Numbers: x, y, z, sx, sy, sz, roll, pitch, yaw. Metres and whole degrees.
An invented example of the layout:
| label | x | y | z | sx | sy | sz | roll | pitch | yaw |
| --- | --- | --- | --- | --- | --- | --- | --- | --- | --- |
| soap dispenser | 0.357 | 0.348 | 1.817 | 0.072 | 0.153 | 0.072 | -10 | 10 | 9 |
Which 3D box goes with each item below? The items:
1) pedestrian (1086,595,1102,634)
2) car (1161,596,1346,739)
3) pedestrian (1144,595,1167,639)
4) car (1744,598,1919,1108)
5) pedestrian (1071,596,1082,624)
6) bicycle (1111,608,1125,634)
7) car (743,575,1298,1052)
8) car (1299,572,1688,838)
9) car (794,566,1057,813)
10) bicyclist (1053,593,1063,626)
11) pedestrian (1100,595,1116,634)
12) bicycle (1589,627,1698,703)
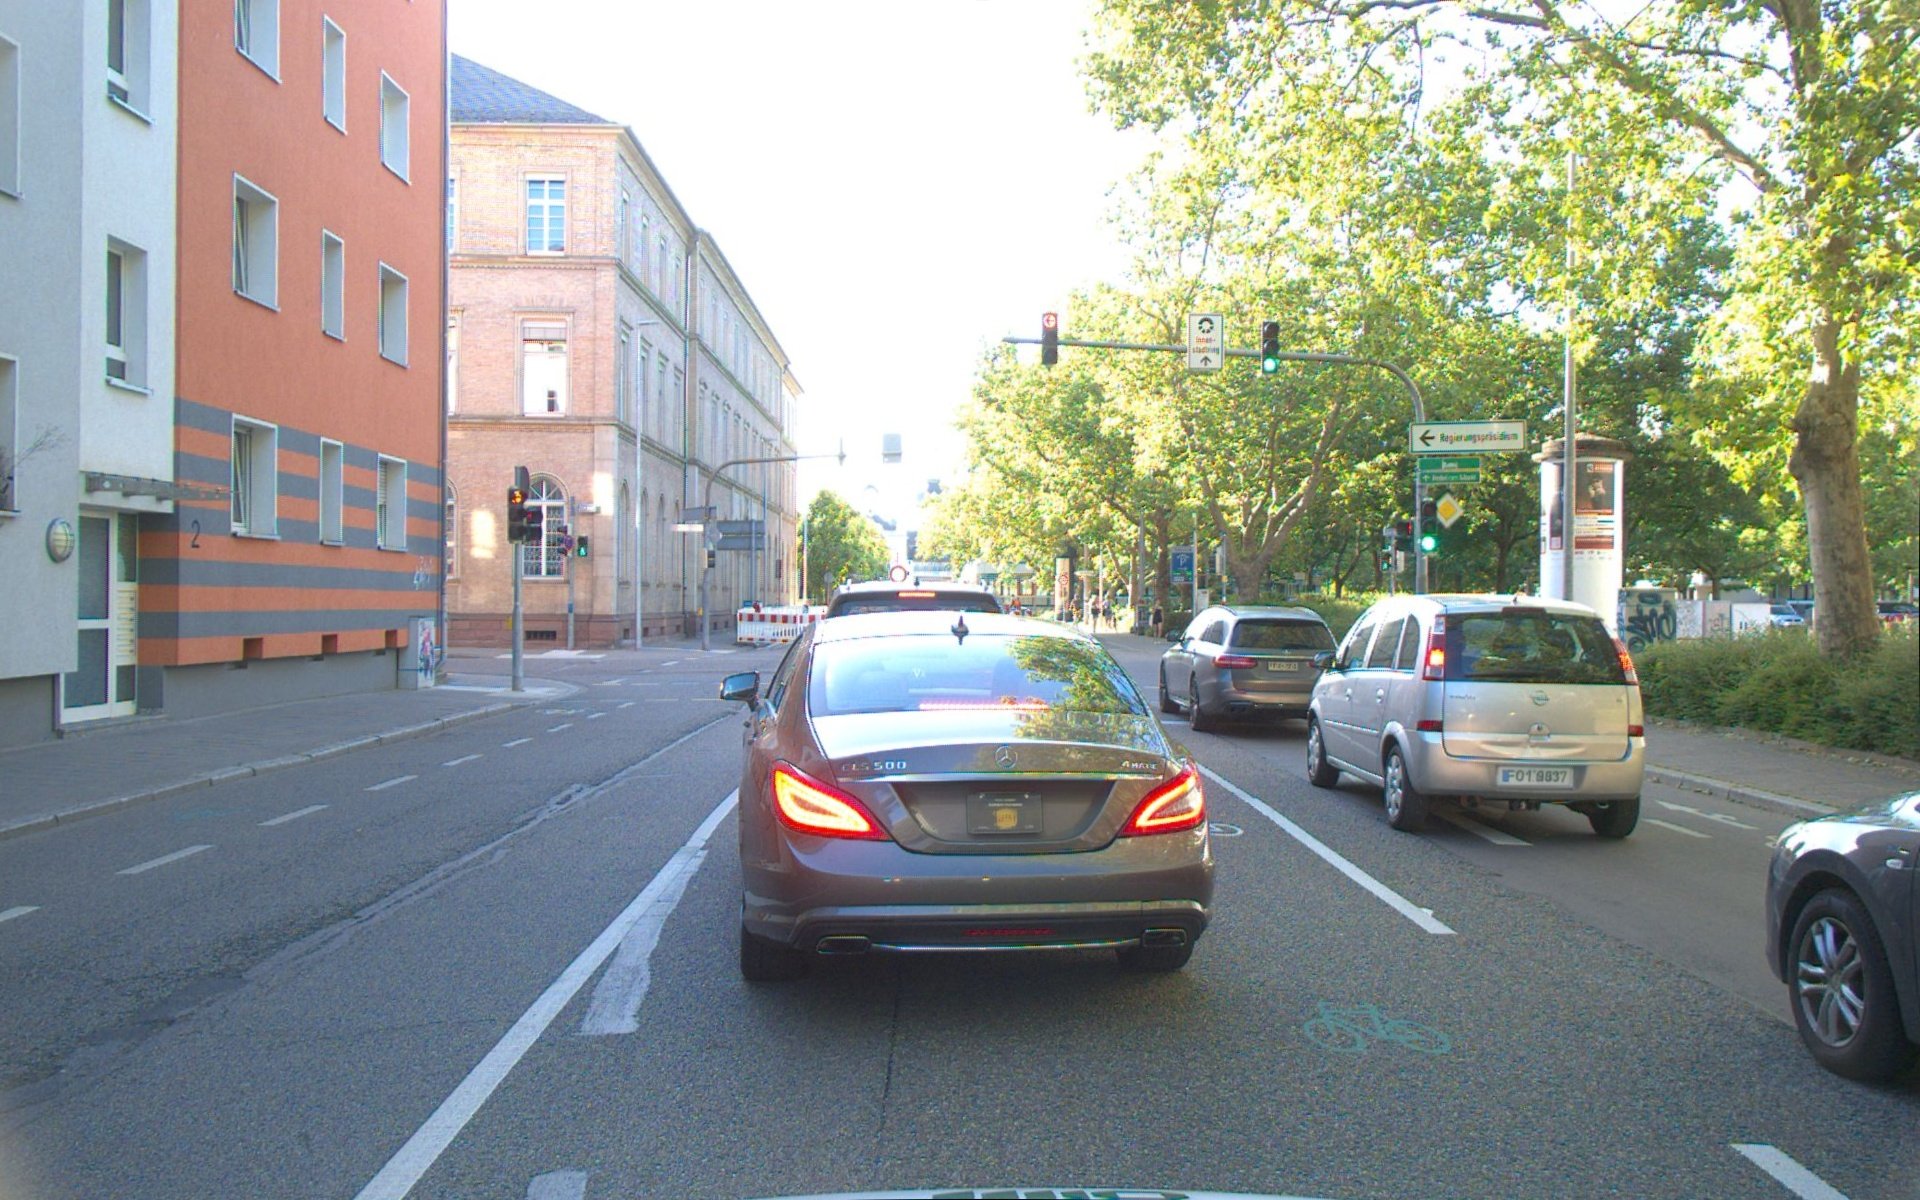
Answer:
| label | x | y | z | sx | sy | sz | roll | pitch | yaw |
| --- | --- | --- | --- | --- | --- | --- | --- | --- | --- |
| pedestrian | 6.306 | 0.663 | 78.119 | 0.623 | 1.828 | 0.698 | 1 | -1 | -5 |
| car | 3.531 | 0.769 | 20.466 | 1.568 | 1.576 | 3.680 | 1 | 0 | -1 |
| pedestrian | 7.083 | 0.608 | 59.961 | 0.623 | 1.572 | 0.909 | 1 | 0 | -5 |
| car | 3.767 | 0.782 | 4.134 | 1.670 | 1.545 | 3.999 | 1 | 0 | -1 |
| pedestrian | 6.382 | 0.542 | 90.319 | 0.545 | 1.535 | 0.345 | 1 | -1 | -5 |
| bicycle | 7.451 | 0.970 | 77.995 | 0.472 | 1.223 | 1.606 | 1 | 0 | -1 |
| car | -0.033 | 0.692 | 7.472 | 1.826 | 1.545 | 3.993 | 1 | 0 | -8 |
| car | 3.822 | 0.688 | 12.508 | 1.696 | 1.691 | 3.680 | 1 | 0 | -1 |
| car | -0.269 | 0.622 | 13.600 | 1.823 | 1.712 | 3.999 | 1 | 0 | -1 |
| bicyclist | 6.223 | 0.601 | 105.073 | 0.583 | 2.075 | 0.565 | 1 | -1 | -5 |
| pedestrian | 6.960 | 0.679 | 78.001 | 0.623 | 1.791 | 0.698 | 1 | -1 | -5 |
| bicycle | 9.871 | 0.921 | 23.845 | 1.868 | 1.046 | 0.633 | 1 | -1 | -39 |
